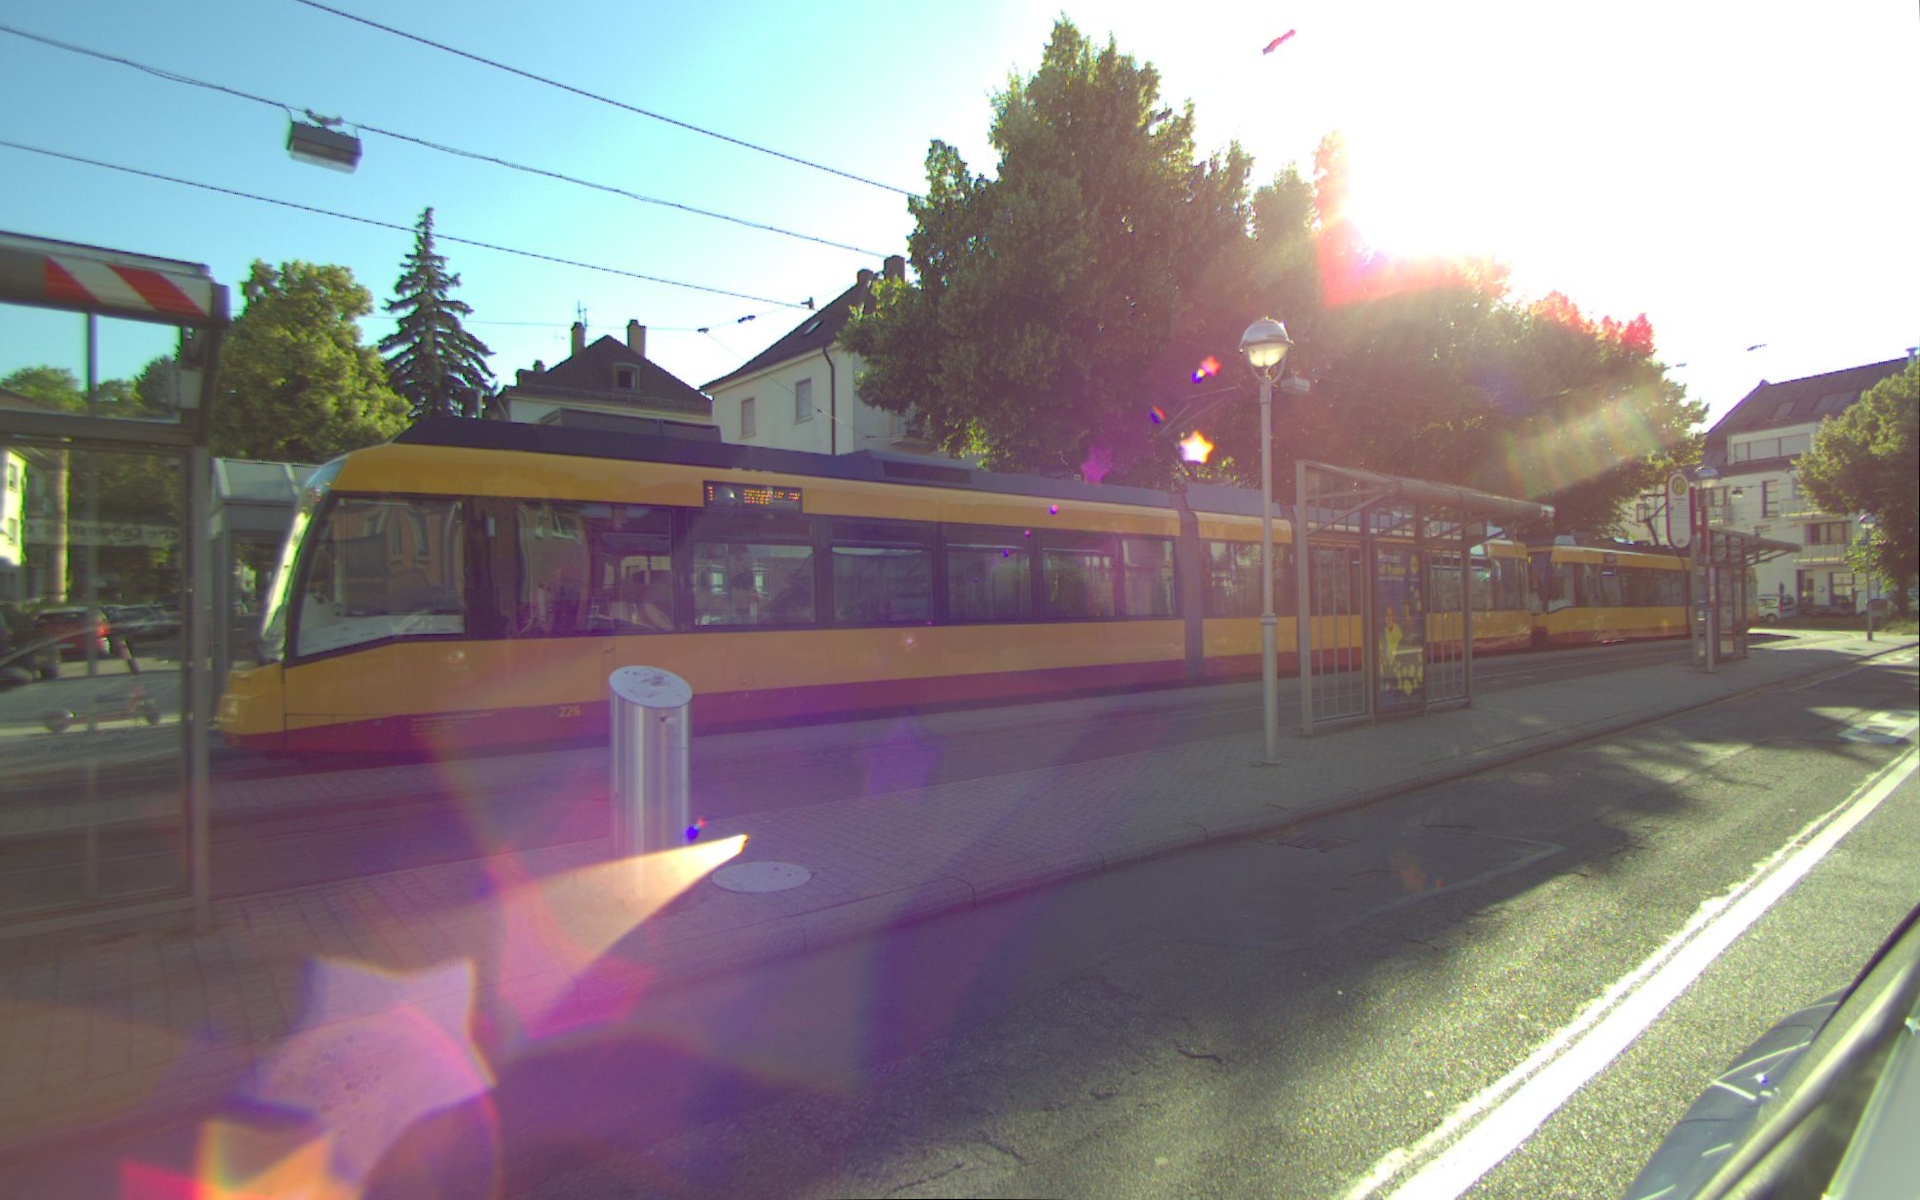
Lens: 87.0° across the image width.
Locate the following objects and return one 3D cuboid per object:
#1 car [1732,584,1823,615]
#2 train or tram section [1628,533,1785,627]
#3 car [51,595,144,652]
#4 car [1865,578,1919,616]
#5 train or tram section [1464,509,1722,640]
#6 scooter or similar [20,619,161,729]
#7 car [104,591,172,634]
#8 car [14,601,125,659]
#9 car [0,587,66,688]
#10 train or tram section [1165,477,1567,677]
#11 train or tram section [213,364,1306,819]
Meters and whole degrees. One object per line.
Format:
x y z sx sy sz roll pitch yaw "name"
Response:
54.416 -0.069 67.455 1.958 1.981 4.281 0 0 -21 "car"
31.846 -0.751 42.816 13.236 3.465 2.960 0 0 -43 "train or tram section"
-27.444 0.679 32.316 1.759 1.642 3.812 -1 1 -33 "car"
51.060 -0.179 53.708 1.838 1.958 4.787 -1 -2 3 "car"
21.248 -0.718 33.134 15.665 3.465 2.961 0 0 -42 "train or tram section"
-10.204 0.843 11.913 1.184 1.223 0.468 0 0 -29 "scooter or similar"
-33.662 0.475 41.515 1.759 1.642 3.812 -1 1 -33 "car"
-24.489 0.762 27.966 1.759 1.406 3.812 -1 1 -33 "car"
-19.059 0.662 19.781 1.963 1.791 4.452 0 1 -36 "car"
10.087 -0.573 23.554 13.230 3.578 2.962 -2 1 -41 "train or tram section"
-0.642 -0.256 14.242 15.693 3.578 2.962 -2 1 -41 "train or tram section"
